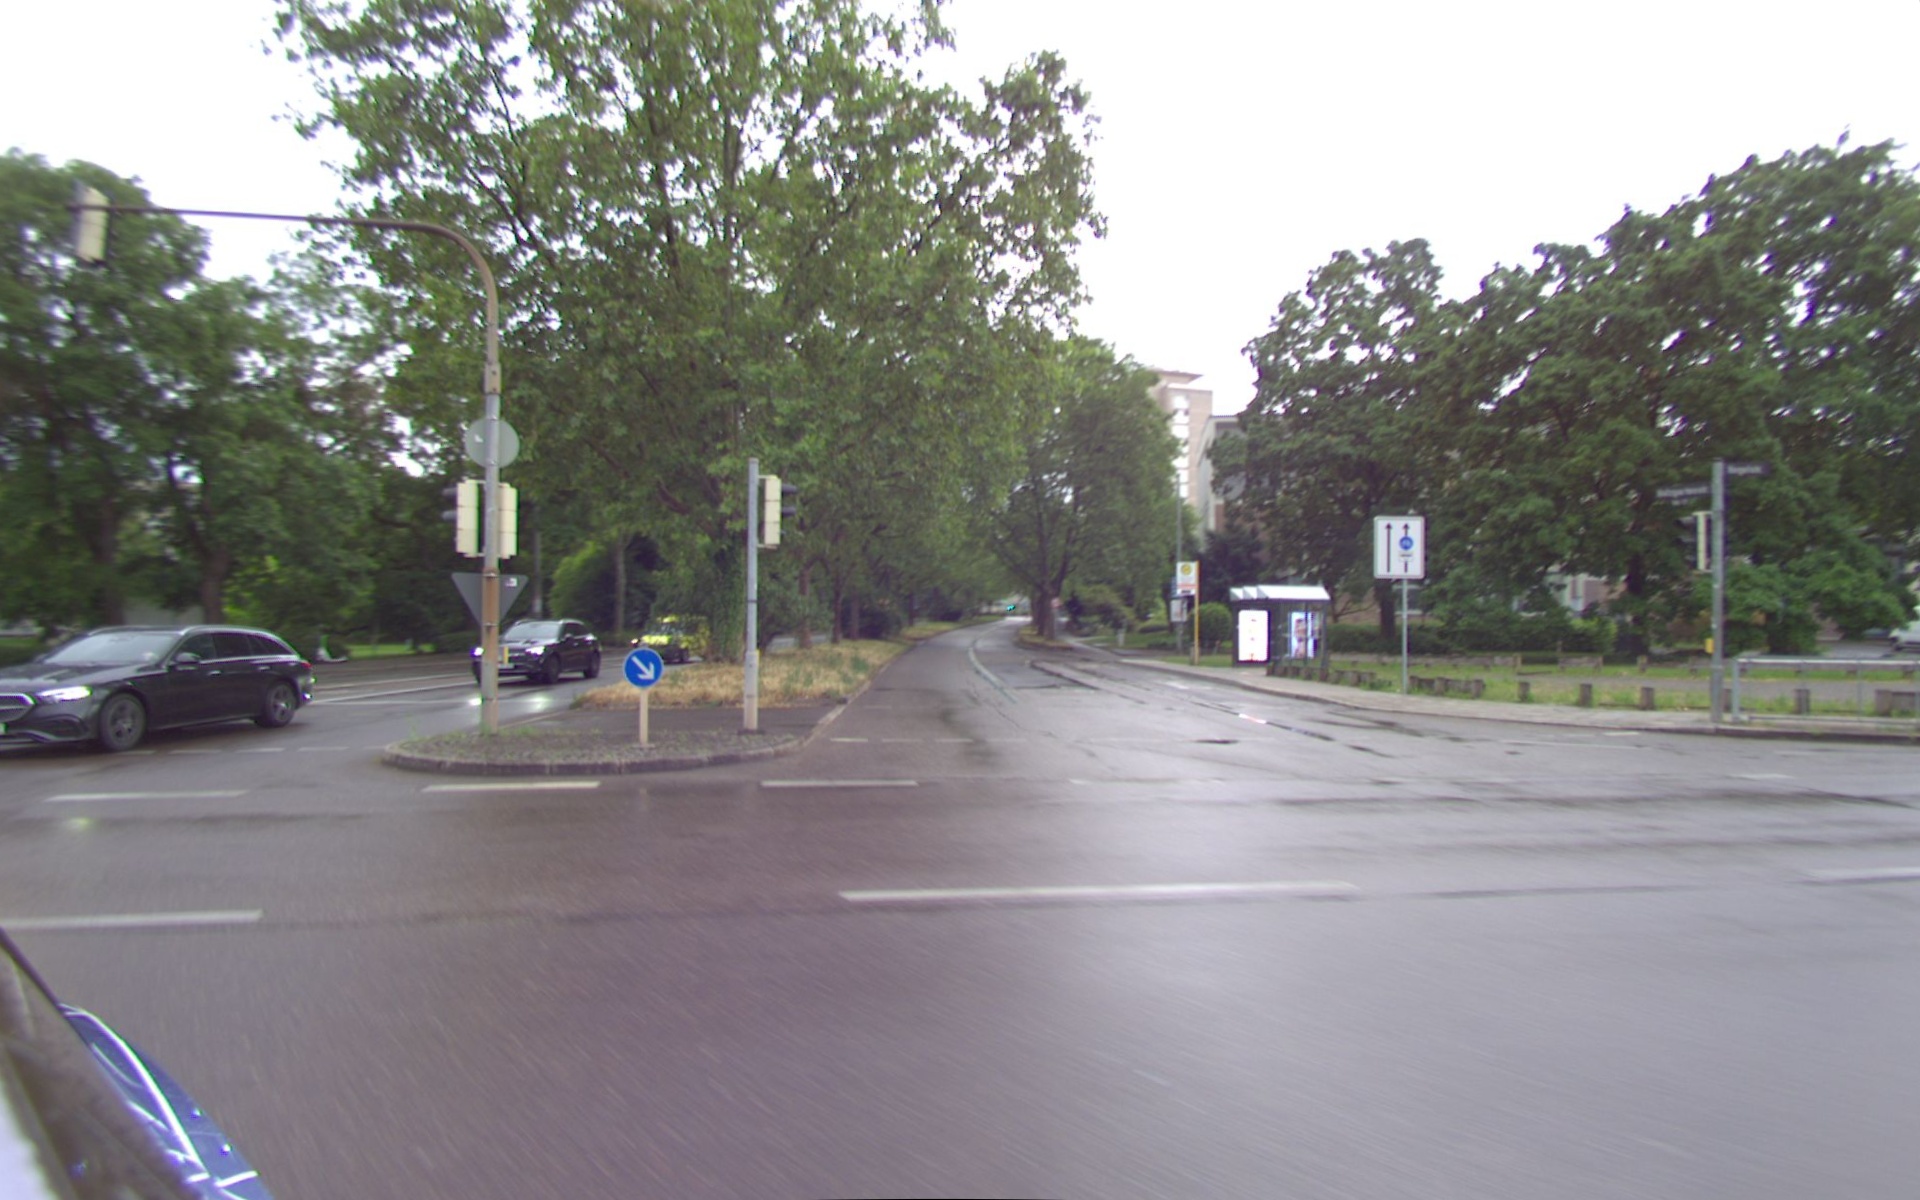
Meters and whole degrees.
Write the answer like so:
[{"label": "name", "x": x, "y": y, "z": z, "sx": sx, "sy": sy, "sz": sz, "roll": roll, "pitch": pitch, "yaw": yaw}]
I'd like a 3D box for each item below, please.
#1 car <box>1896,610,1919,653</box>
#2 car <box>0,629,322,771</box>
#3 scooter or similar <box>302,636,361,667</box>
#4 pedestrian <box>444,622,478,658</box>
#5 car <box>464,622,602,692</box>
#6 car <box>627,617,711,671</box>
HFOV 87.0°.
[{"label": "car", "x": 50.536, "y": 1.632, "z": 51.207, "sx": 2.264, "sy": 2.195, "sz": 5.061, "roll": -2, "pitch": 0, "yaw": 11}, {"label": "car", "x": -10.579, "y": 1.116, "z": 12.965, "sx": 1.858, "sy": 1.456, "sz": 4.932, "roll": 0, "pitch": -2, "yaw": -2}, {"label": "scooter or similar", "x": -23.430, "y": 1.914, "z": 37.753, "sx": 0.554, "sy": 1.109, "sz": 1.878, "roll": 2, "pitch": -2, "yaw": 20}, {"label": "pedestrian", "x": -23.549, "y": 1.882, "z": 47.758, "sx": 1.071, "sy": 1.618, "sz": 1.044, "roll": -2, "pitch": -1, "yaw": 40}, {"label": "car", "x": -10.983, "y": 1.401, "z": 26.417, "sx": 1.808, "sy": 1.620, "sz": 4.579, "roll": -2, "pitch": -1, "yaw": -2}, {"label": "car", "x": -11.239, "y": 1.671, "z": 39.383, "sx": 1.859, "sy": 1.890, "sz": 4.741, "roll": -2, "pitch": -2, "yaw": 0}]
